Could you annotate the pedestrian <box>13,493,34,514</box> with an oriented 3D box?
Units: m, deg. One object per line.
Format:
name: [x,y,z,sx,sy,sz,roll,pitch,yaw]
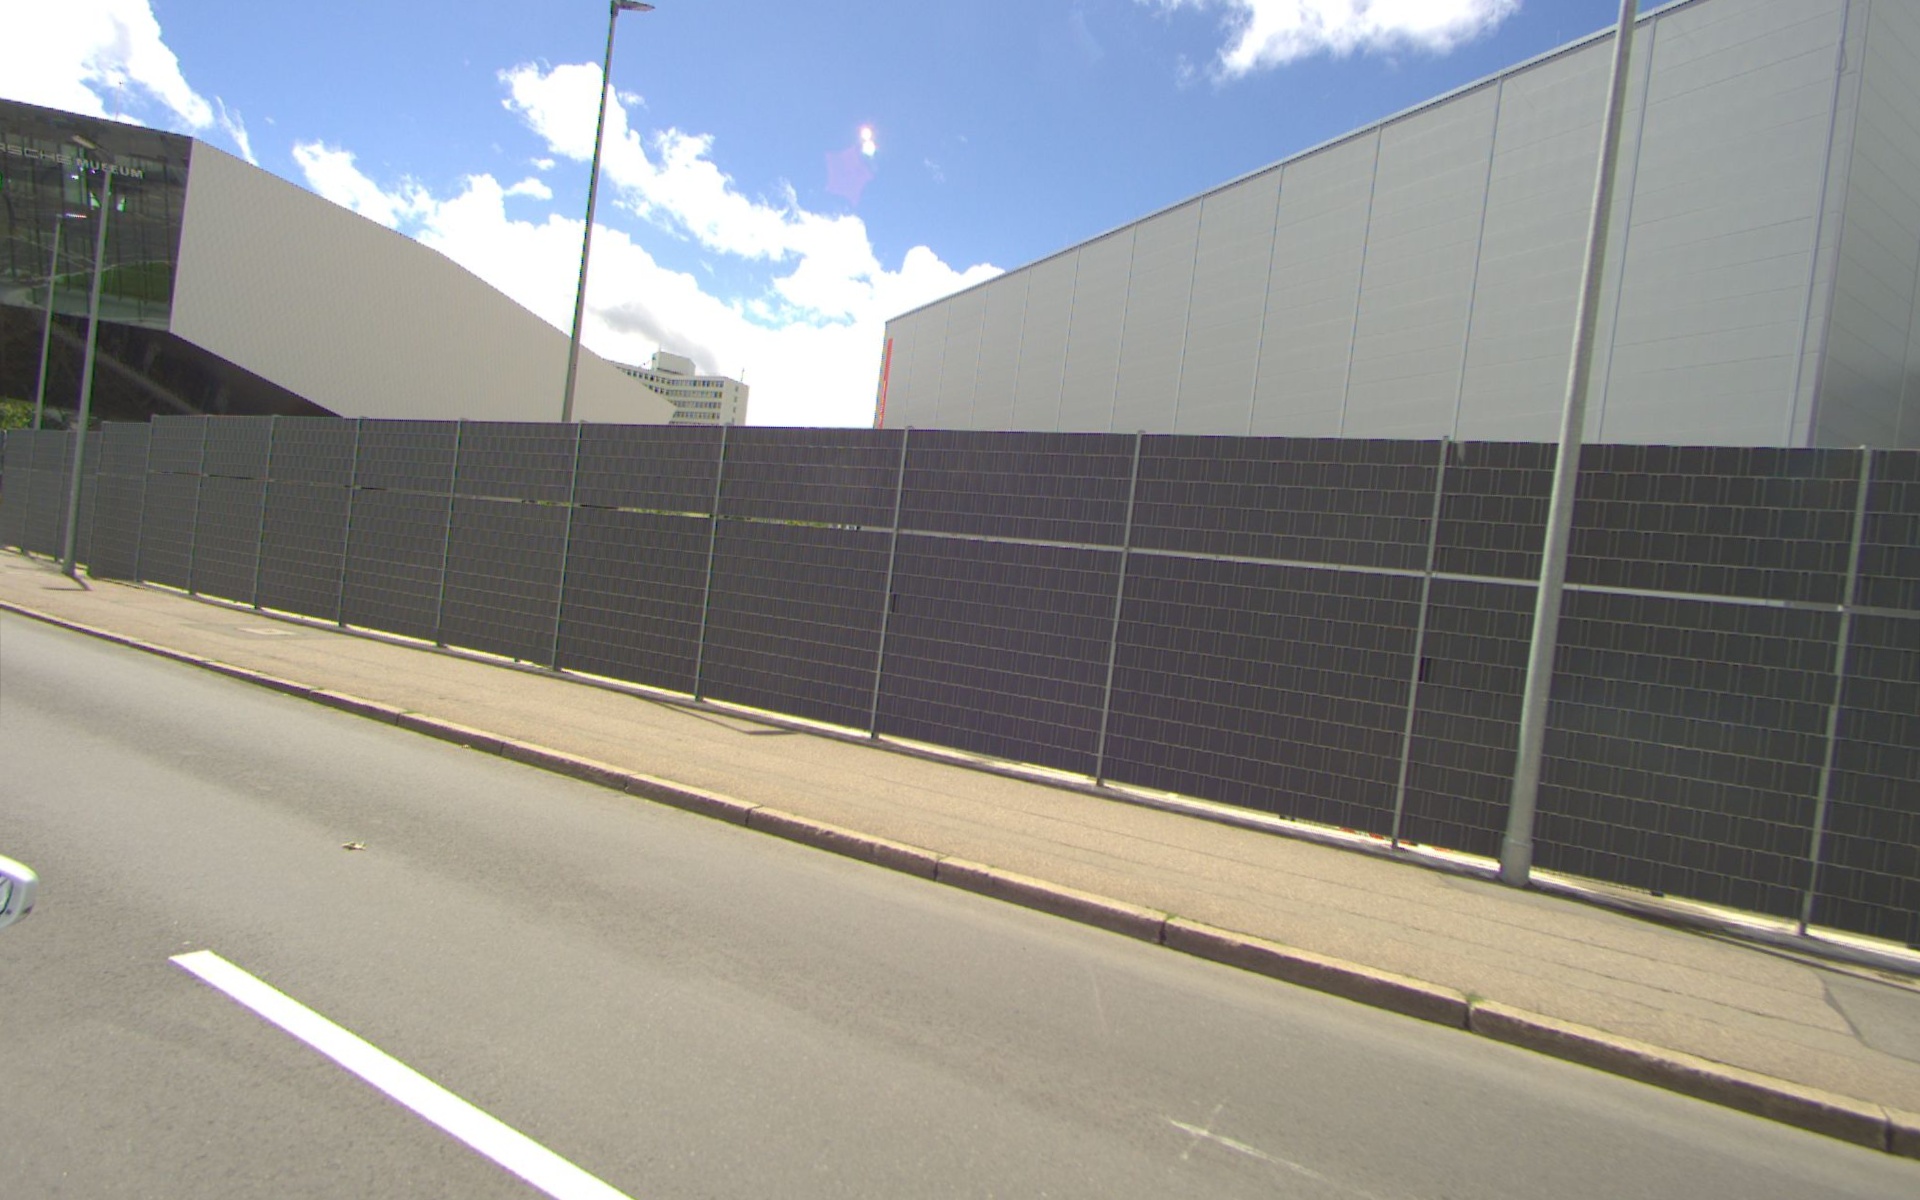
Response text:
pedestrian: [-79.406,-8.209,85.275,0.906,1.591,0.831,6,-1,21]

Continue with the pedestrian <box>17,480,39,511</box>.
pedestrian: [-65.183,-7.319,70.352,0.951,2.009,1.363,8,1,-44]
